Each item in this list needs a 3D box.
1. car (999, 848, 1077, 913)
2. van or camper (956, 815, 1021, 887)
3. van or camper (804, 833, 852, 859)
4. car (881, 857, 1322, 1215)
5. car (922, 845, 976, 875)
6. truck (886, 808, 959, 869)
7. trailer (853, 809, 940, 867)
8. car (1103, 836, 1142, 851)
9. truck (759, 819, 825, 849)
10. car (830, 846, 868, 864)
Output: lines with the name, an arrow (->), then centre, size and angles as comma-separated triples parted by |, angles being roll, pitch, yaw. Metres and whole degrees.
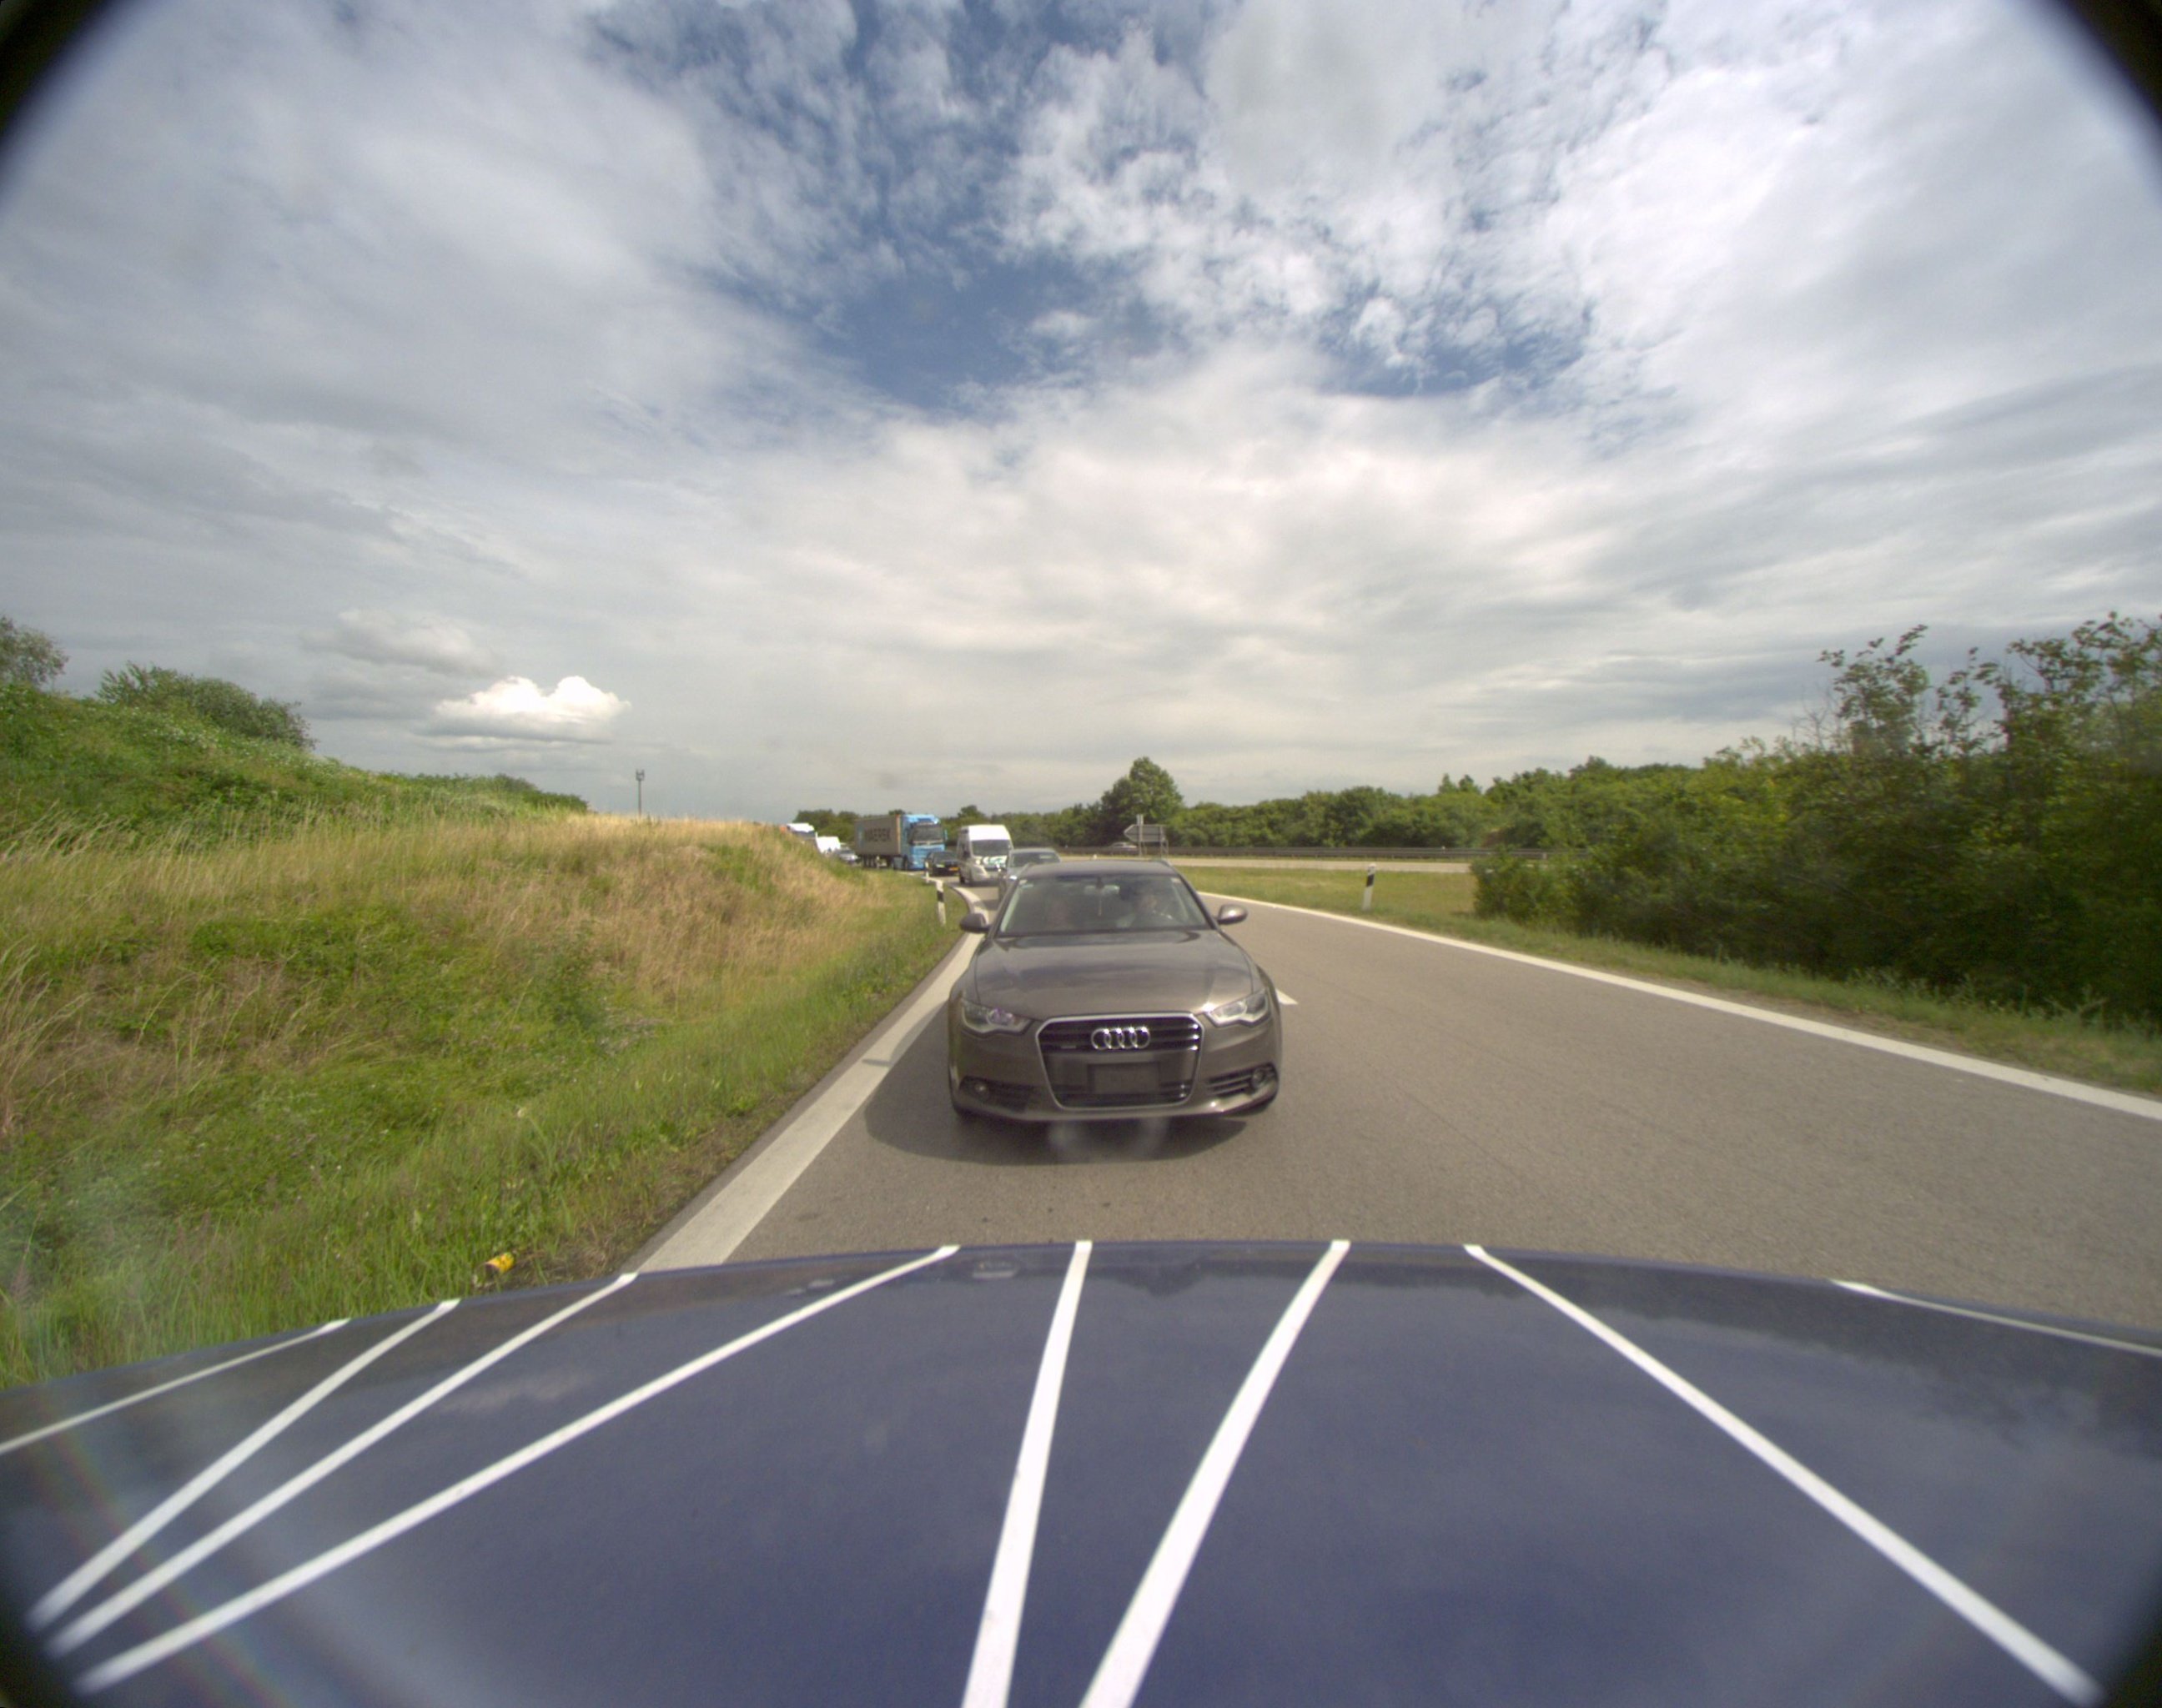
car -> -1.329, 0.670, 21.774 | 1.844, 1.587, 4.169 | -1, 1, -8
van or camper -> -4.273, -0.158, 34.265 | 2.400, 2.892, 5.714 | -3, 1, -11
van or camper -> -25.033, -0.794, 75.151 | 2.558, 2.200, 5.692 | -4, 6, -39
car -> 0.073, 0.854, 5.795 | 1.999, 1.506, 4.537 | -2, 1, -1
car -> -7.780, 0.305, 44.559 | 2.003, 1.609, 3.990 | -2, 2, -27
truck -> -11.554, -1.082, 54.838 | 3.184, 4.050, 6.631 | -3, 2, -29
trailer -> -14.997, -1.167, 60.859 | 3.280, 4.138, 11.988 | -3, 2, -30
car -> 4.533, -1.128, 83.341 | 2.004, 1.565, 3.988 | 0, 2, -43
truck -> -32.877, -2.198, 86.035 | 3.131, 3.221, 11.128 | -3, 2, -42
car -> -21.519, 0.069, 70.372 | 2.003, 1.522, 3.988 | -3, 3, -37
